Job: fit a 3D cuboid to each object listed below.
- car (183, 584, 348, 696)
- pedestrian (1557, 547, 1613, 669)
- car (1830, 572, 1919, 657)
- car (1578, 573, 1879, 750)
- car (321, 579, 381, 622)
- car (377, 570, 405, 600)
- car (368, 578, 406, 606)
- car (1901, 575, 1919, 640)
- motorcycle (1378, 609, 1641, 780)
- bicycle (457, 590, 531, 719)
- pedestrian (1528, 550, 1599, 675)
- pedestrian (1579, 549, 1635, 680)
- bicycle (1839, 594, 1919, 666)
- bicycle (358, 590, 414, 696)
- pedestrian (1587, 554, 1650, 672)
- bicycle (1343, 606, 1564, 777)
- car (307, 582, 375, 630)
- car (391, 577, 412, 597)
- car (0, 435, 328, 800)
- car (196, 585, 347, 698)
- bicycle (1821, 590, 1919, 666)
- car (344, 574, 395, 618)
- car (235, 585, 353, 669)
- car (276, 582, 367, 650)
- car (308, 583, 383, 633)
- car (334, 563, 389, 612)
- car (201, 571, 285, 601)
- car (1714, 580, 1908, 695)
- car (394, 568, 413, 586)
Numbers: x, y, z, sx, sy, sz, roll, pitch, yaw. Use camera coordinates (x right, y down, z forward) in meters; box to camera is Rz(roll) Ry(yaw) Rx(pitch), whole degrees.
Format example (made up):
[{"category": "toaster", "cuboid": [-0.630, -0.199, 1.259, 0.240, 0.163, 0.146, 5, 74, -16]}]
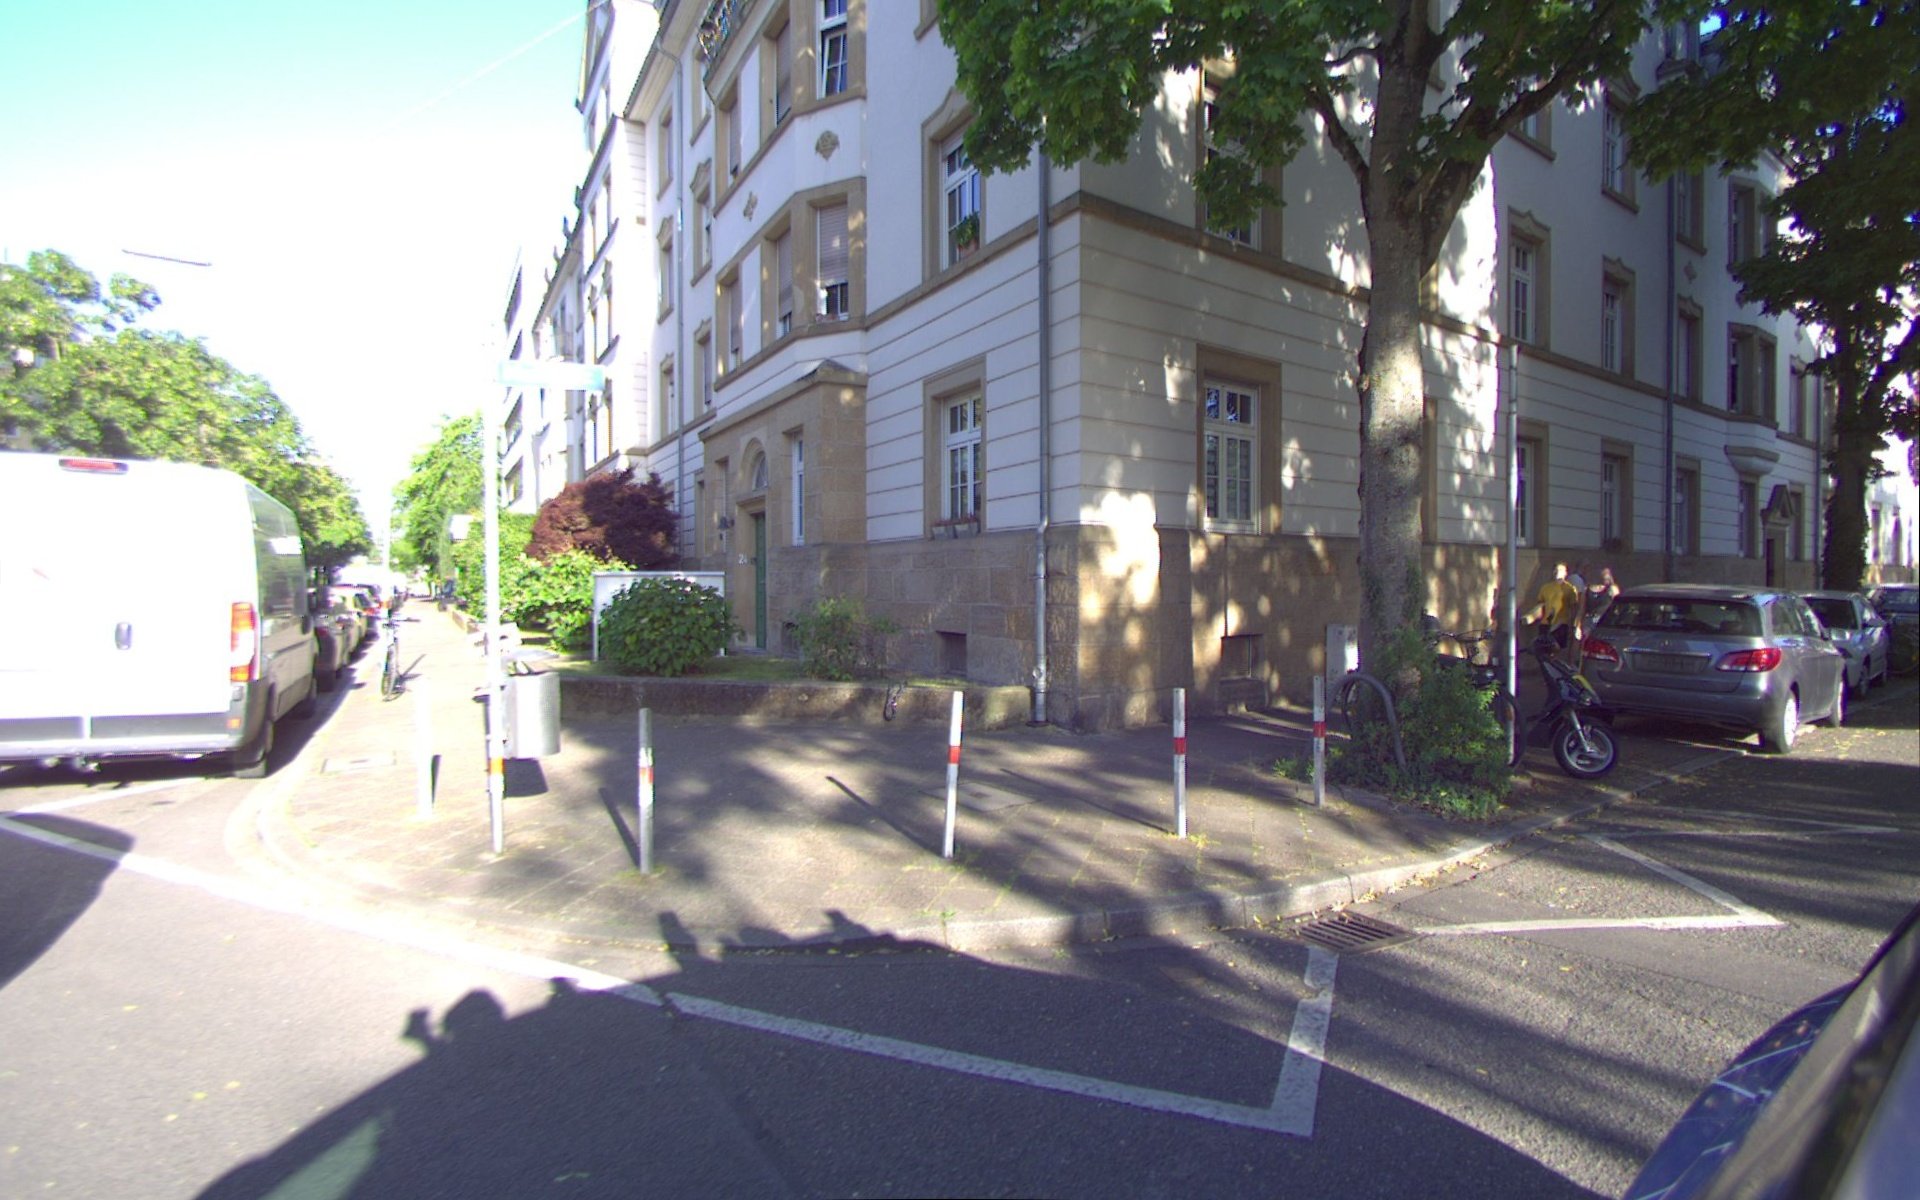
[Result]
[{"category": "car", "cuboid": [-10.622, 0.503, 15.742, 1.754, 1.457, 4.005, -1, 1, -30]}, {"category": "pedestrian", "cuboid": [9.868, 0.111, 15.973, 0.694, 1.868, 0.529, -1, 0, -37]}, {"category": "car", "cuboid": [18.778, 0.221, 20.019, 3.927, 1.552, 1.639, -1, 1, -38]}, {"category": "car", "cuboid": [8.406, 0.501, 10.949, 4.060, 1.559, 1.684, -1, 2, -39]}, {"category": "car", "cuboid": [-23.221, -0.037, 38.698, 1.754, 1.527, 4.225, -1, 1, -29]}, {"category": "car", "cuboid": [-49.004, -1.302, 87.275, 1.959, 2.484, 4.006, -1, 1, -28]}, {"category": "car", "cuboid": [-33.348, -0.497, 58.961, 1.767, 1.501, 4.006, -1, 2, -28]}, {"category": "car", "cuboid": [23.305, 0.138, 23.432, 3.927, 1.460, 1.651, -1, 1, -38]}, {"category": "motorcycle", "cuboid": [4.720, 0.748, 8.810, 0.666, 1.227, 1.854, 1, 2, -41]}, {"category": "bicycle", "cuboid": [-5.219, 0.552, 11.414, 0.625, 1.306, 1.874, -1, 1, -21]}, {"category": "pedestrian", "cuboid": [8.545, 0.162, 14.334, 0.804, 1.706, 0.624, -1, 1, -39]}, {"category": "pedestrian", "cuboid": [8.793, 0.187, 13.757, 0.507, 1.740, 0.519, -1, 0, -40]}, {"category": "bicycle", "cuboid": [16.126, 0.506, 17.469, 0.330, 1.210, 1.413, -1, 1, -40]}, {"category": "bicycle", "cuboid": [-7.674, 0.526, 13.585, 0.463, 1.306, 1.874, -1, 1, -24]}, {"category": "pedestrian", "cuboid": [10.814, 0.200, 16.614, 0.827, 1.868, 0.705, -1, 1, -44]}, {"category": "bicycle", "cuboid": [3.992, 0.679, 8.356, 0.424, 1.176, 1.803, 0, 2, -22]}, {"category": "car", "cuboid": [-21.119, 0.156, 34.663, 1.753, 1.527, 4.225, -1, 1, -28]}, {"category": "car", "cuboid": [-61.937, -1.455, 112.288, 1.959, 2.229, 4.006, -1, 1, -28]}, {"category": "car", "cuboid": [-7.565, 0.056, 9.604, 2.259, 2.498, 5.672, -1, 1, -28]}, {"category": "car", "cuboid": [-10.434, 0.522, 15.494, 1.693, 1.482, 3.887, -1, 1, -33]}, {"category": "bicycle", "cuboid": [15.102, 0.444, 16.636, 0.330, 1.210, 1.413, -1, 1, -40]}, {"category": "car", "cuboid": [-25.418, -0.211, 43.631, 1.768, 1.789, 4.152, -1, 1, -29]}, {"category": "car", "cuboid": [-13.069, 0.444, 20.019, 1.754, 1.440, 4.222, -1, 1, -32]}, {"category": "car", "cuboid": [-15.836, 0.330, 25.186, 1.754, 1.527, 4.222, -1, 1, -32]}, {"category": "car", "cuboid": [-18.108, 0.185, 29.844, 1.754, 1.316, 4.222, -1, 1, -32]}, {"category": "car", "cuboid": [-28.563, -0.626, 48.429, 2.096, 2.222, 5.345, -1, 1, -29]}, {"category": "car", "cuboid": [-41.930, -0.844, 59.274, 3.923, 1.683, 1.728, -1, 2, -33]}, {"category": "car", "cuboid": [12.477, 0.437, 14.763, 3.791, 1.424, 1.725, -1, 2, -43]}, {"category": "car", "cuboid": [-68.963, -2.826, 125.426, 1.959, 2.229, 4.006, -1, 1, -28]}]
